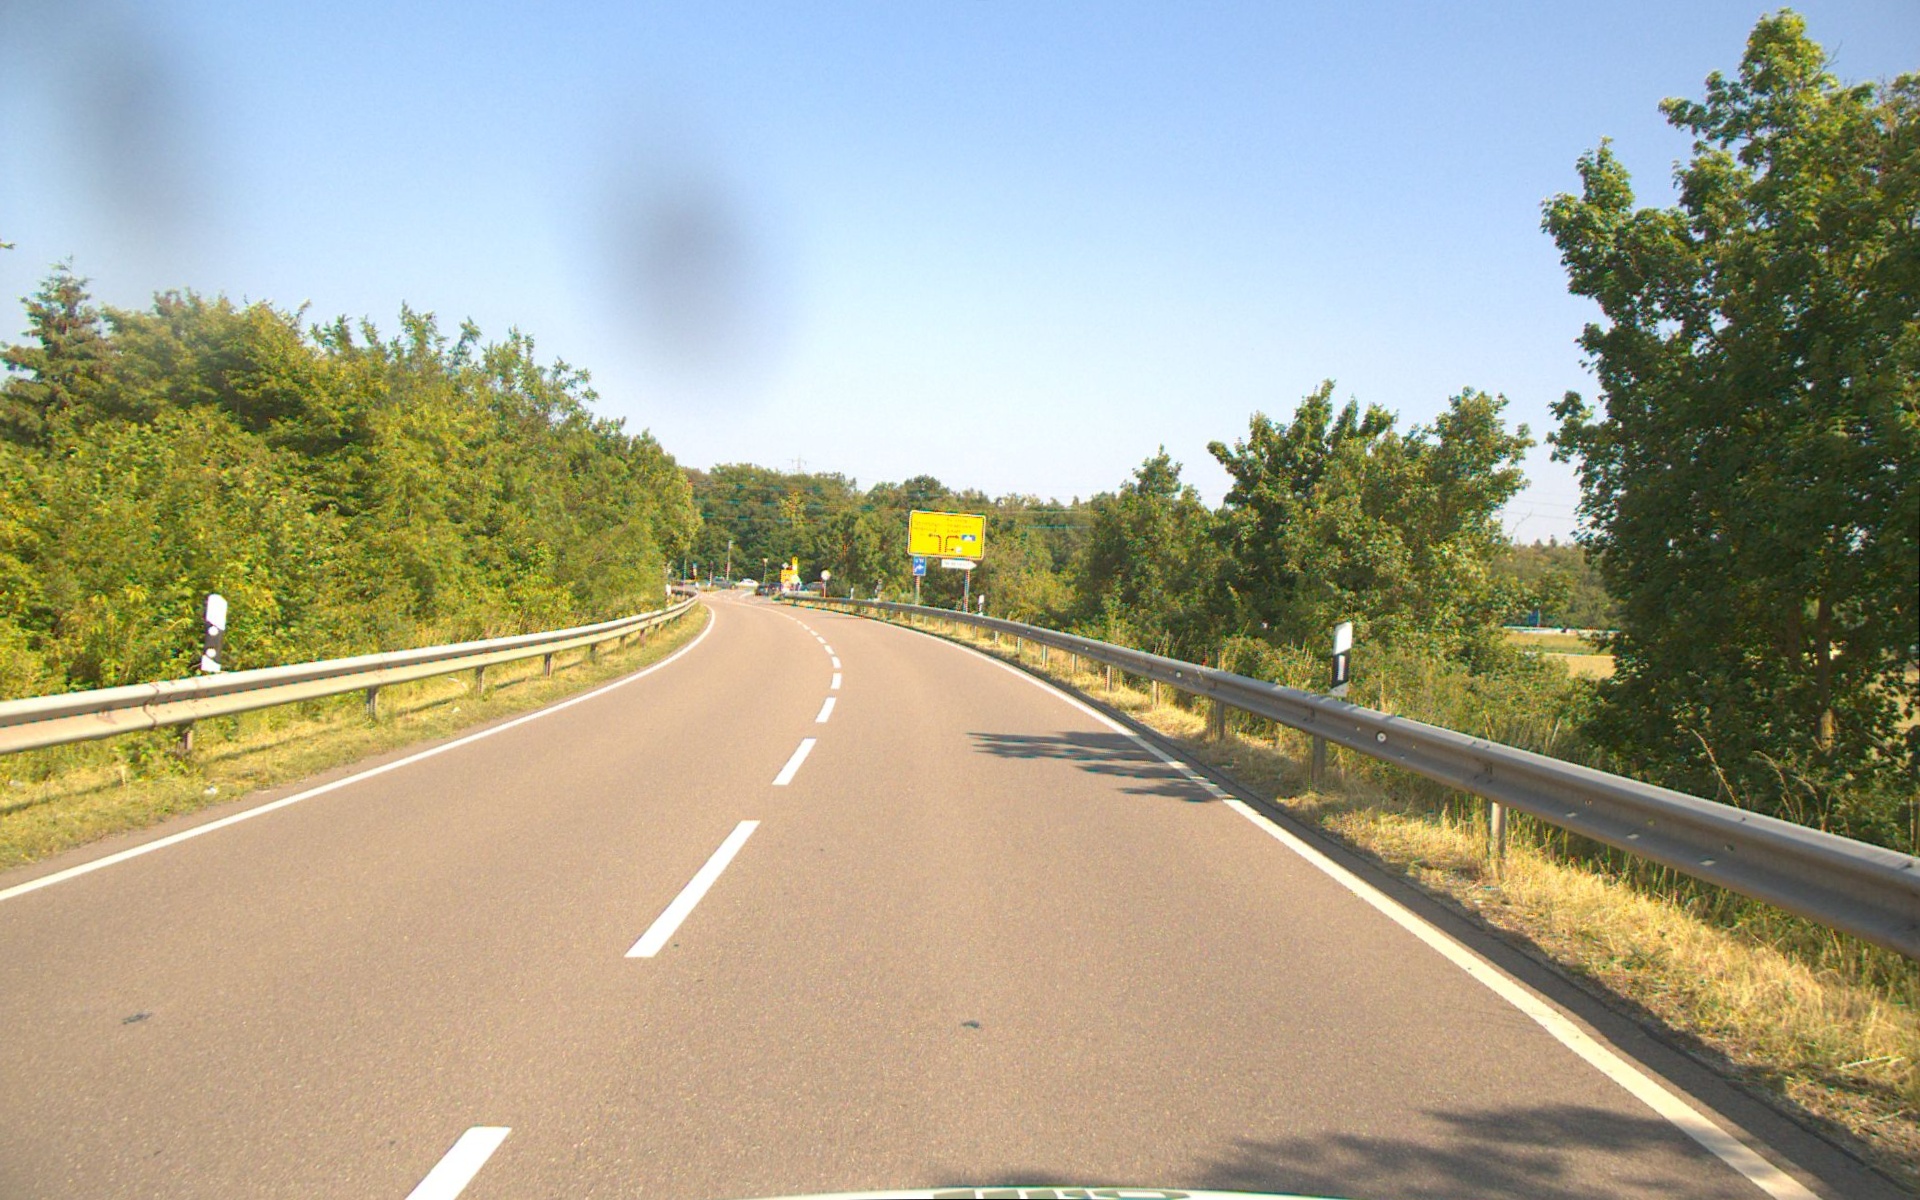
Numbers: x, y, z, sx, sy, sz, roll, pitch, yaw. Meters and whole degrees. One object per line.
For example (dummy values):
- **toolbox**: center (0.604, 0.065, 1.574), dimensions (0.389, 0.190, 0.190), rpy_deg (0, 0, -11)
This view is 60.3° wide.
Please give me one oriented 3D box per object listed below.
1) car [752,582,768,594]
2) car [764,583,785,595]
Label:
- **car**: center (-26.118, -1.608, 216.179), dimensions (1.765, 1.422, 3.996), rpy_deg (-5, 1, -5)
- **car**: center (-25.077, -1.477, 223.754), dimensions (1.761, 1.527, 4.003), rpy_deg (3, 0, 7)
